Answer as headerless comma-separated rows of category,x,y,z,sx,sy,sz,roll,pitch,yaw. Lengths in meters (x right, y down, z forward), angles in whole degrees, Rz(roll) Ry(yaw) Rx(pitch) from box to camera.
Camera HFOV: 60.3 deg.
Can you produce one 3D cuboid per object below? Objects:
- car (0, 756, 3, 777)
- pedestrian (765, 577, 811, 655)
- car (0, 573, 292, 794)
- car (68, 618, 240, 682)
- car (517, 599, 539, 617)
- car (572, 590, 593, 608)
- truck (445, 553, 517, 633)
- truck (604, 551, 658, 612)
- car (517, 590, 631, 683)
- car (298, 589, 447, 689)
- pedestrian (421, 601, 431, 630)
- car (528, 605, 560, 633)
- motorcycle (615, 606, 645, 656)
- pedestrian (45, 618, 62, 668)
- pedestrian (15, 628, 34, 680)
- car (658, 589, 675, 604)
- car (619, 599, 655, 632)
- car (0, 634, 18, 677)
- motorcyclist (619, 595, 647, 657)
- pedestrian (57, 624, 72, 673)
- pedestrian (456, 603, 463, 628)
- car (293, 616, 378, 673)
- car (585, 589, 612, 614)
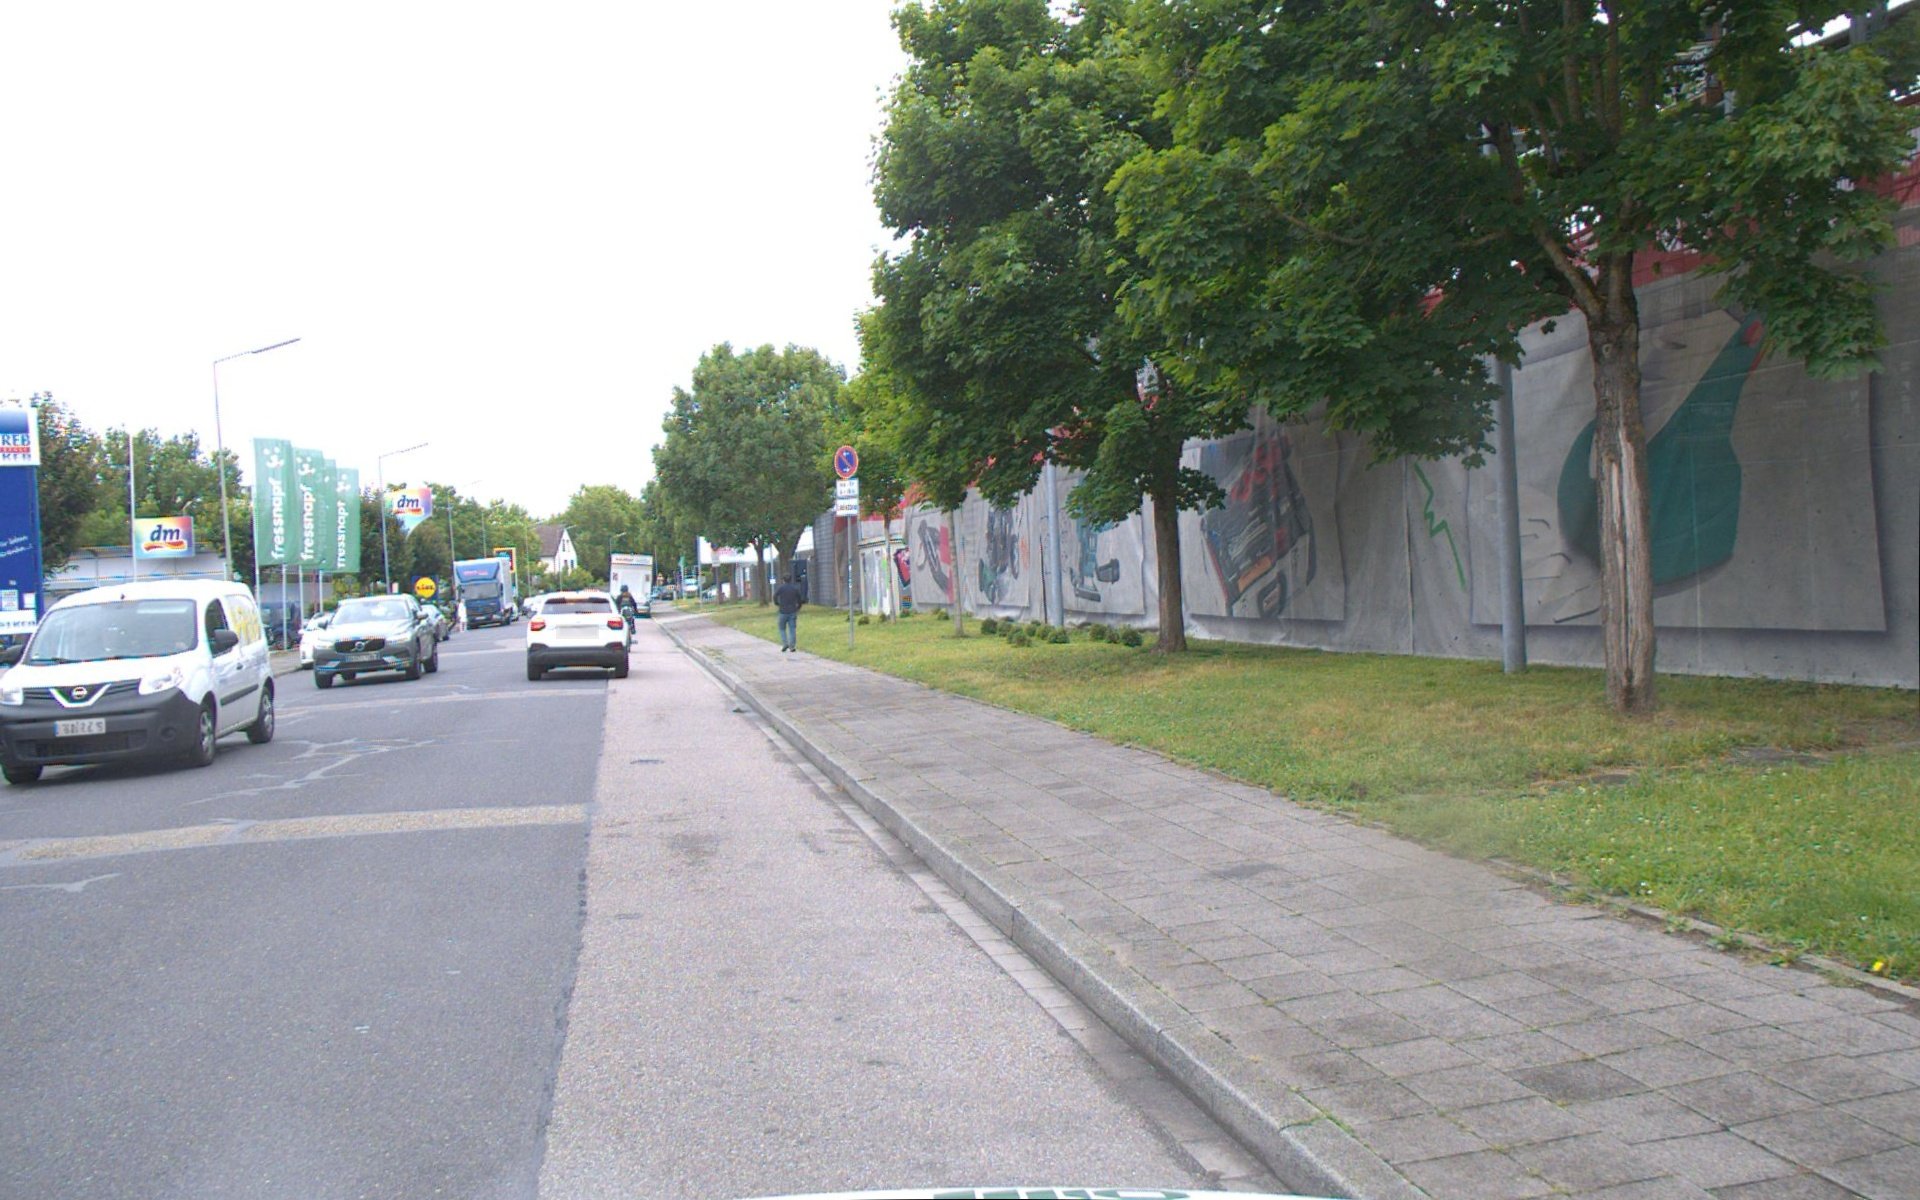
car,-10.291,1.150,14.429,1.914,1.552,4.389,-7,2,-12
pedestrian,-3.767,0.350,36.233,0.902,1.663,0.850,-2,0,-10
car,-8.074,0.710,16.503,1.660,1.791,4.125,-5,1,-10
car,-23.013,1.391,47.401,4.141,1.488,1.942,-4,1,-20
car,-36.271,0.668,138.903,1.595,1.399,3.441,-2,0,-12
car,-36.511,-0.099,160.105,1.959,1.713,3.987,-2,0,-13
truck,-26.238,-0.386,90.829,2.921,4.023,6.387,-4,1,-11
truck,-21.301,-1.107,106.654,3.081,3.647,10.017,-2,0,-13
car,-7.058,0.610,30.585,1.853,1.558,4.243,-1,0,-11
car,-11.535,0.703,32.768,1.898,1.713,4.485,-4,1,-9
pedestrian,-29.313,0.854,90.812,0.395,1.558,0.483,-3,1,-18
car,-25.330,1.135,100.822,1.571,1.554,3.518,-5,1,-11
motorcycle,-8.590,0.793,43.076,0.629,1.199,2.109,-3,1,-9
pedestrian,-29.521,1.388,53.859,0.354,1.597,0.500,-3,1,-25
pedestrian,-30.650,1.777,54.171,0.450,1.670,0.371,-3,1,-29
car,-35.539,-0.399,200.263,1.853,1.713,4.243,-1,0,-11
car,-19.144,0.920,97.883,1.959,1.837,3.987,-2,0,-13
car,-36.631,2.121,59.875,3.916,1.518,1.781,-3,1,-11
motorcyclist,-8.504,0.668,42.984,0.613,1.581,0.603,-3,1,-10
pedestrian,-29.728,1.597,54.895,0.326,1.597,0.500,-4,1,-25
pedestrian,-32.004,1.004,105.756,0.395,1.558,0.483,-3,1,-18
car,-17.455,1.204,46.384,1.868,1.390,3.982,-4,1,-16
car,-26.946,0.088,123.130,1.838,1.690,3.986,-4,1,-13
